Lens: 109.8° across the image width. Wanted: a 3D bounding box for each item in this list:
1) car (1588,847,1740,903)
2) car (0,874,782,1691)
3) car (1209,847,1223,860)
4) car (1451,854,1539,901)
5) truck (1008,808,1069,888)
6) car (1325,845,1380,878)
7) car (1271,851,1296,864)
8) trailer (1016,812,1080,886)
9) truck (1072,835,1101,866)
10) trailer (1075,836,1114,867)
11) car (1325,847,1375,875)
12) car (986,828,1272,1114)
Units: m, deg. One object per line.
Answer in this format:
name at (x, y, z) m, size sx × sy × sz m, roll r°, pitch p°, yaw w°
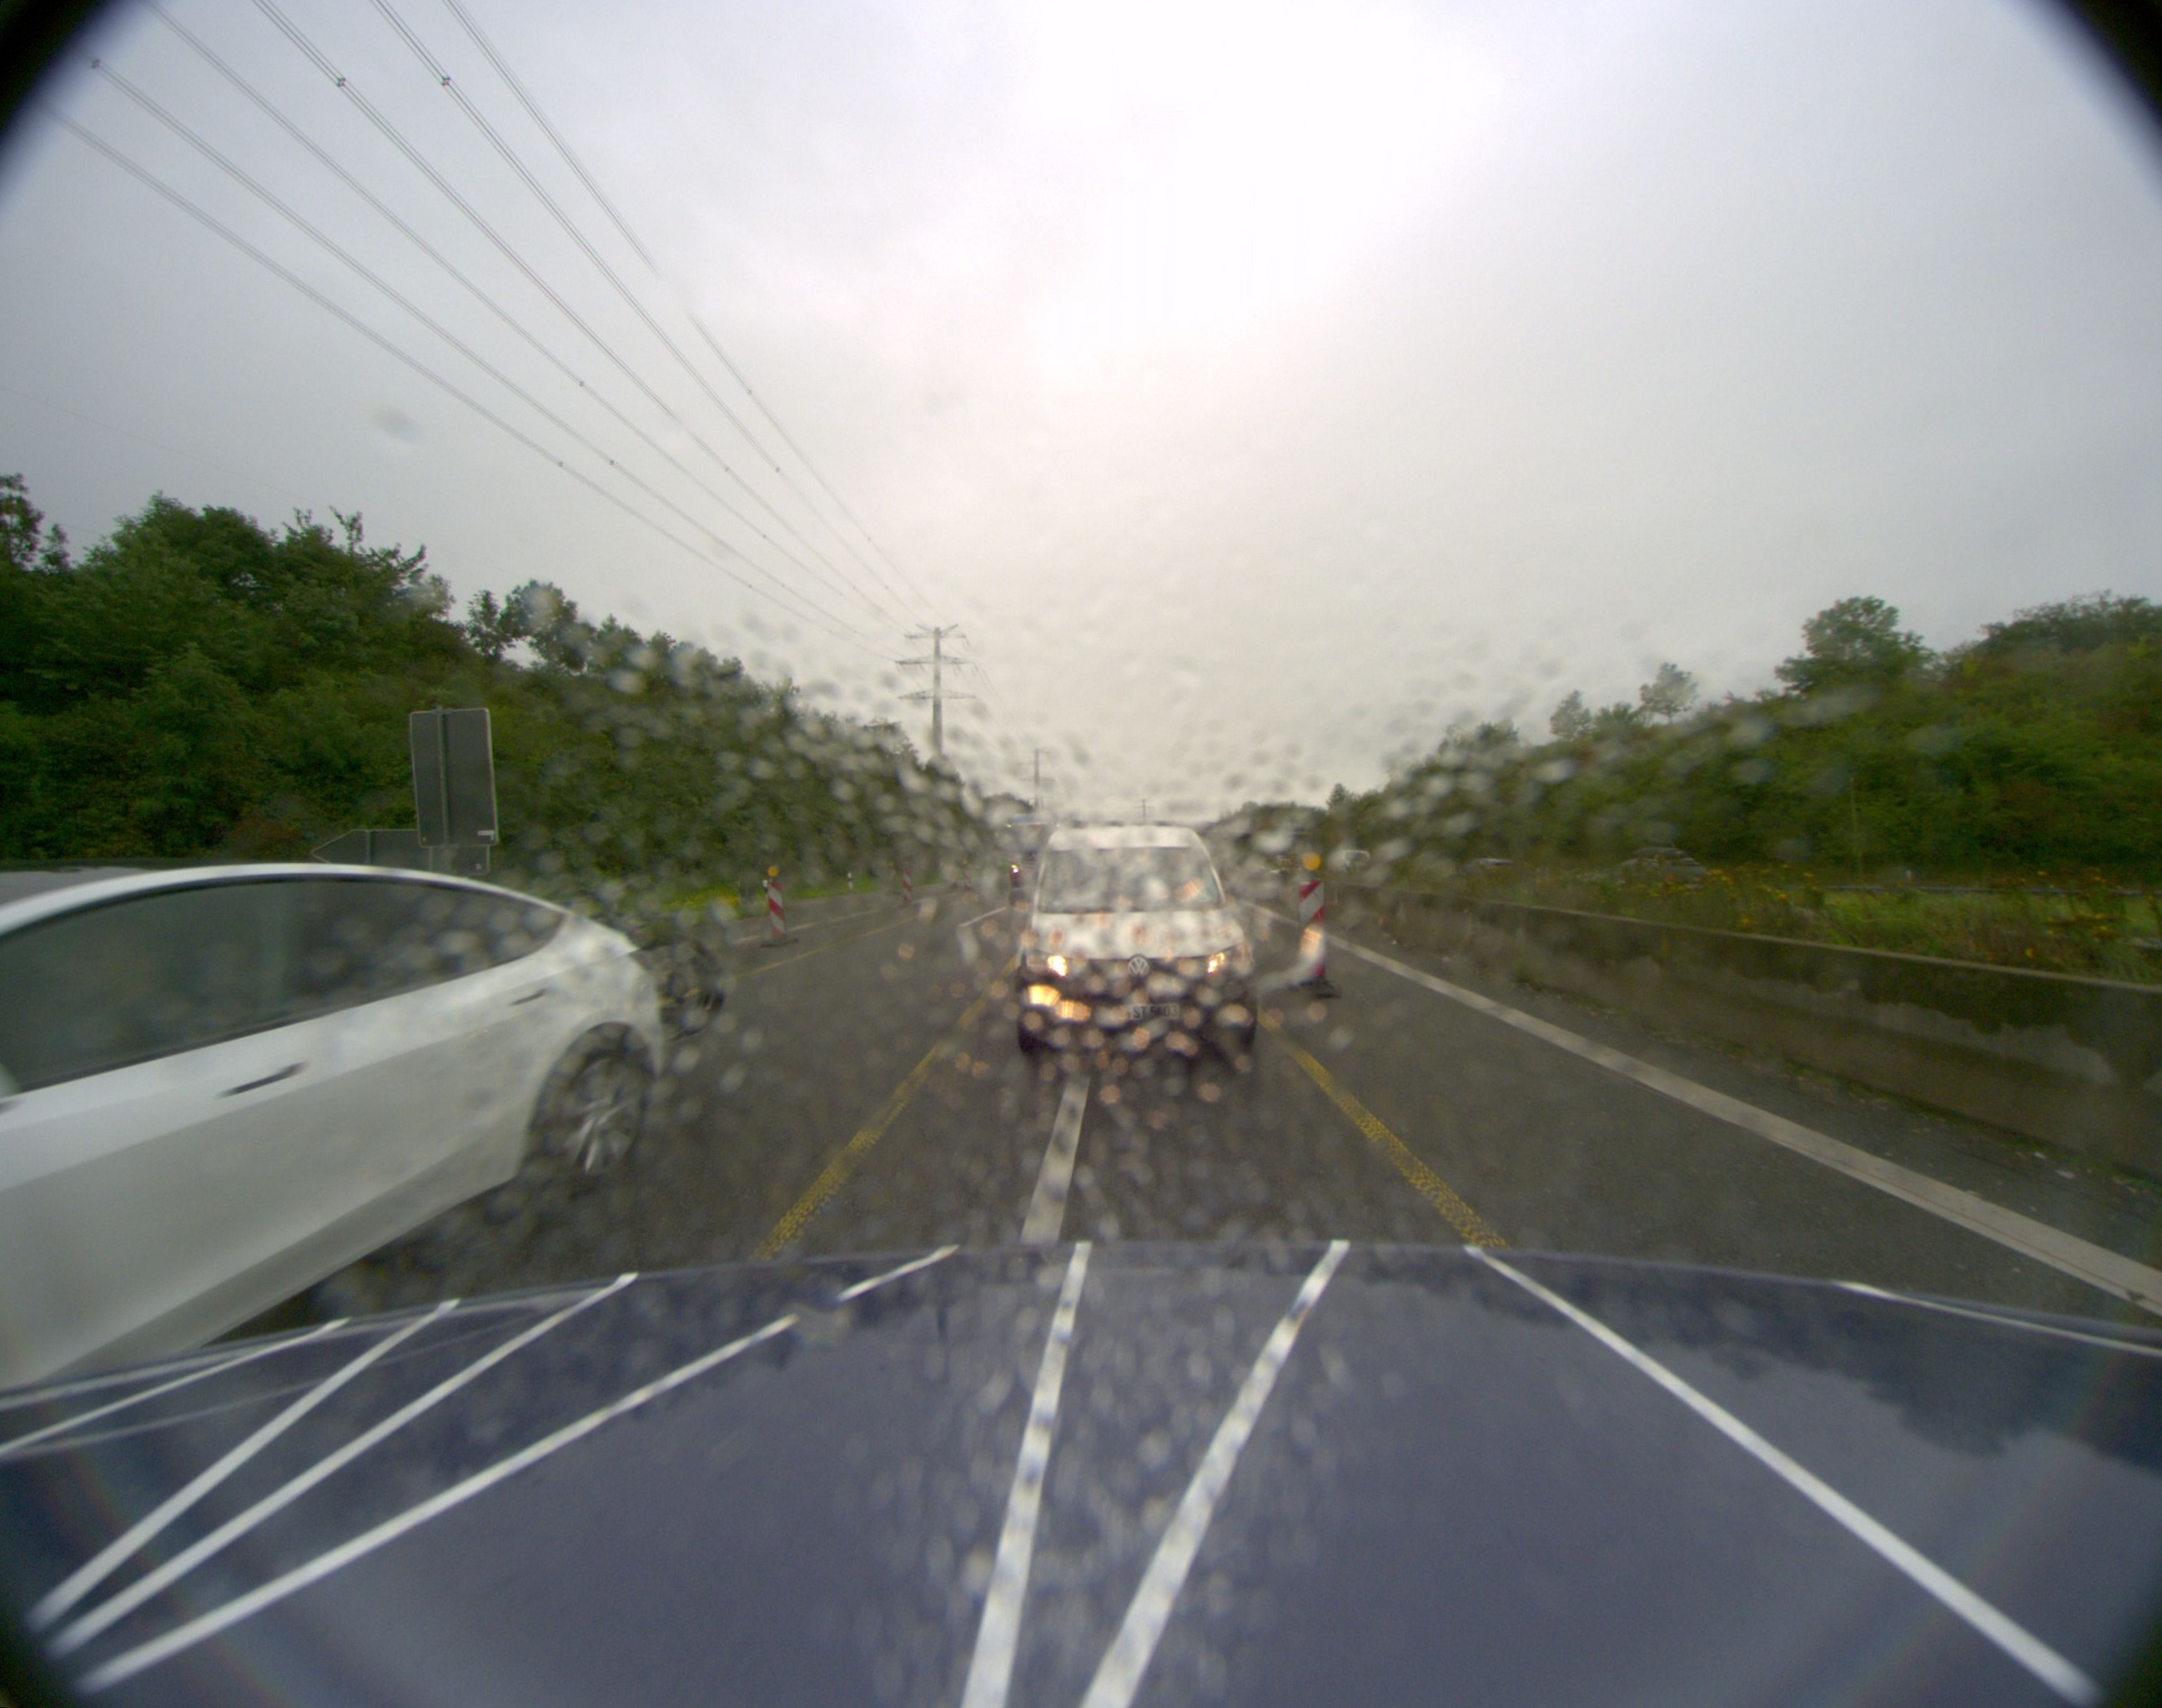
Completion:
car at (19.722, 0.654, 25.966) m, size 1.998 × 1.779 × 4.229 m, roll 0°, pitch 0°, yaw 1°
car at (-3.314, 1.005, 2.684) m, size 2.050 × 1.587 × 5.801 m, roll -2°, pitch 0°, yaw 1°
car at (27.363, -0.101, 154.218) m, size 2.245 × 2.426 × 5.885 m, roll 0°, pitch 0°, yaw 4°
car at (15.458, 0.825, 28.549) m, size 1.455 × 1.523 × 3.661 m, roll -3°, pitch 1°, yaw 3°
truck at (-2.160, -0.338, 39.861) m, size 2.553 × 3.924 × 4.000 m, roll -2°, pitch 1°, yaw 4°
car at (16.322, 0.423, 45.930) m, size 1.998 × 1.791 × 4.000 m, roll -2°, pitch 1°, yaw 2°
car at (23.770, 0.382, 89.176) m, size 1.998 × 1.471 × 4.109 m, roll 0°, pitch 0°, yaw 2°
trailer at (-1.742, -0.370, 46.407) m, size 2.525 × 3.812 × 12.351 m, roll -2°, pitch 1°, yaw 3°
truck at (0.844, -0.489, 101.874) m, size 2.746 × 3.912 × 5.401 m, roll -2°, pitch 1°, yaw 12°
trailer at (2.039, -0.540, 107.466) m, size 2.806 × 3.980 × 14.159 m, roll -2°, pitch 1°, yaw 11°
car at (16.194, 0.389, 45.974) m, size 1.872 × 1.640 × 4.001 m, roll 0°, pitch 0°, yaw 4°
car at (0.352, 0.747, 7.202) m, size 1.770 × 1.774 × 4.647 m, roll -2°, pitch 0°, yaw 1°
